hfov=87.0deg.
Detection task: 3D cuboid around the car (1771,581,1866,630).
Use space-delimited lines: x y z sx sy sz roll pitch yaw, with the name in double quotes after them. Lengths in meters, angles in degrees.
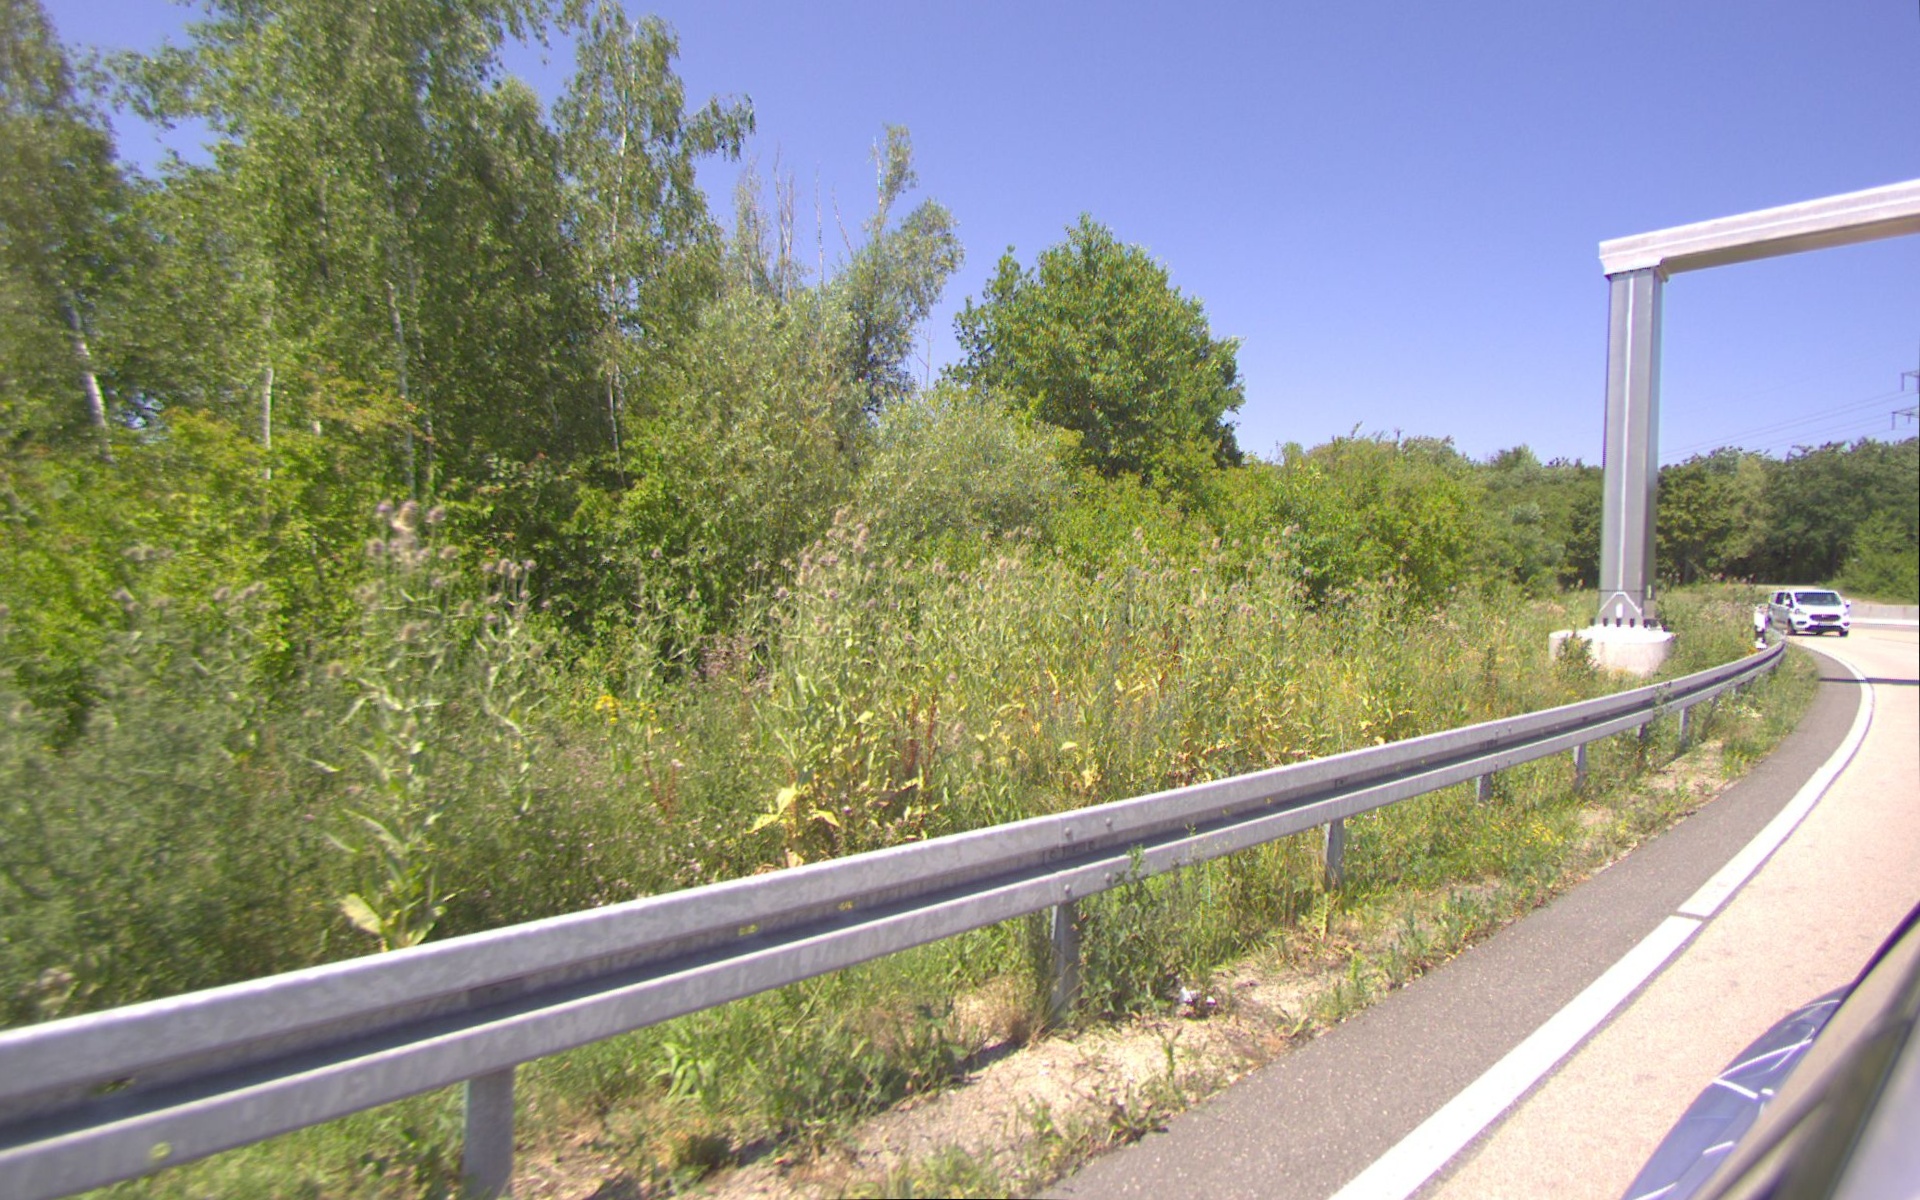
37.586 0.189 44.468 2.043 2.039 4.995 0 1 27 "car"
